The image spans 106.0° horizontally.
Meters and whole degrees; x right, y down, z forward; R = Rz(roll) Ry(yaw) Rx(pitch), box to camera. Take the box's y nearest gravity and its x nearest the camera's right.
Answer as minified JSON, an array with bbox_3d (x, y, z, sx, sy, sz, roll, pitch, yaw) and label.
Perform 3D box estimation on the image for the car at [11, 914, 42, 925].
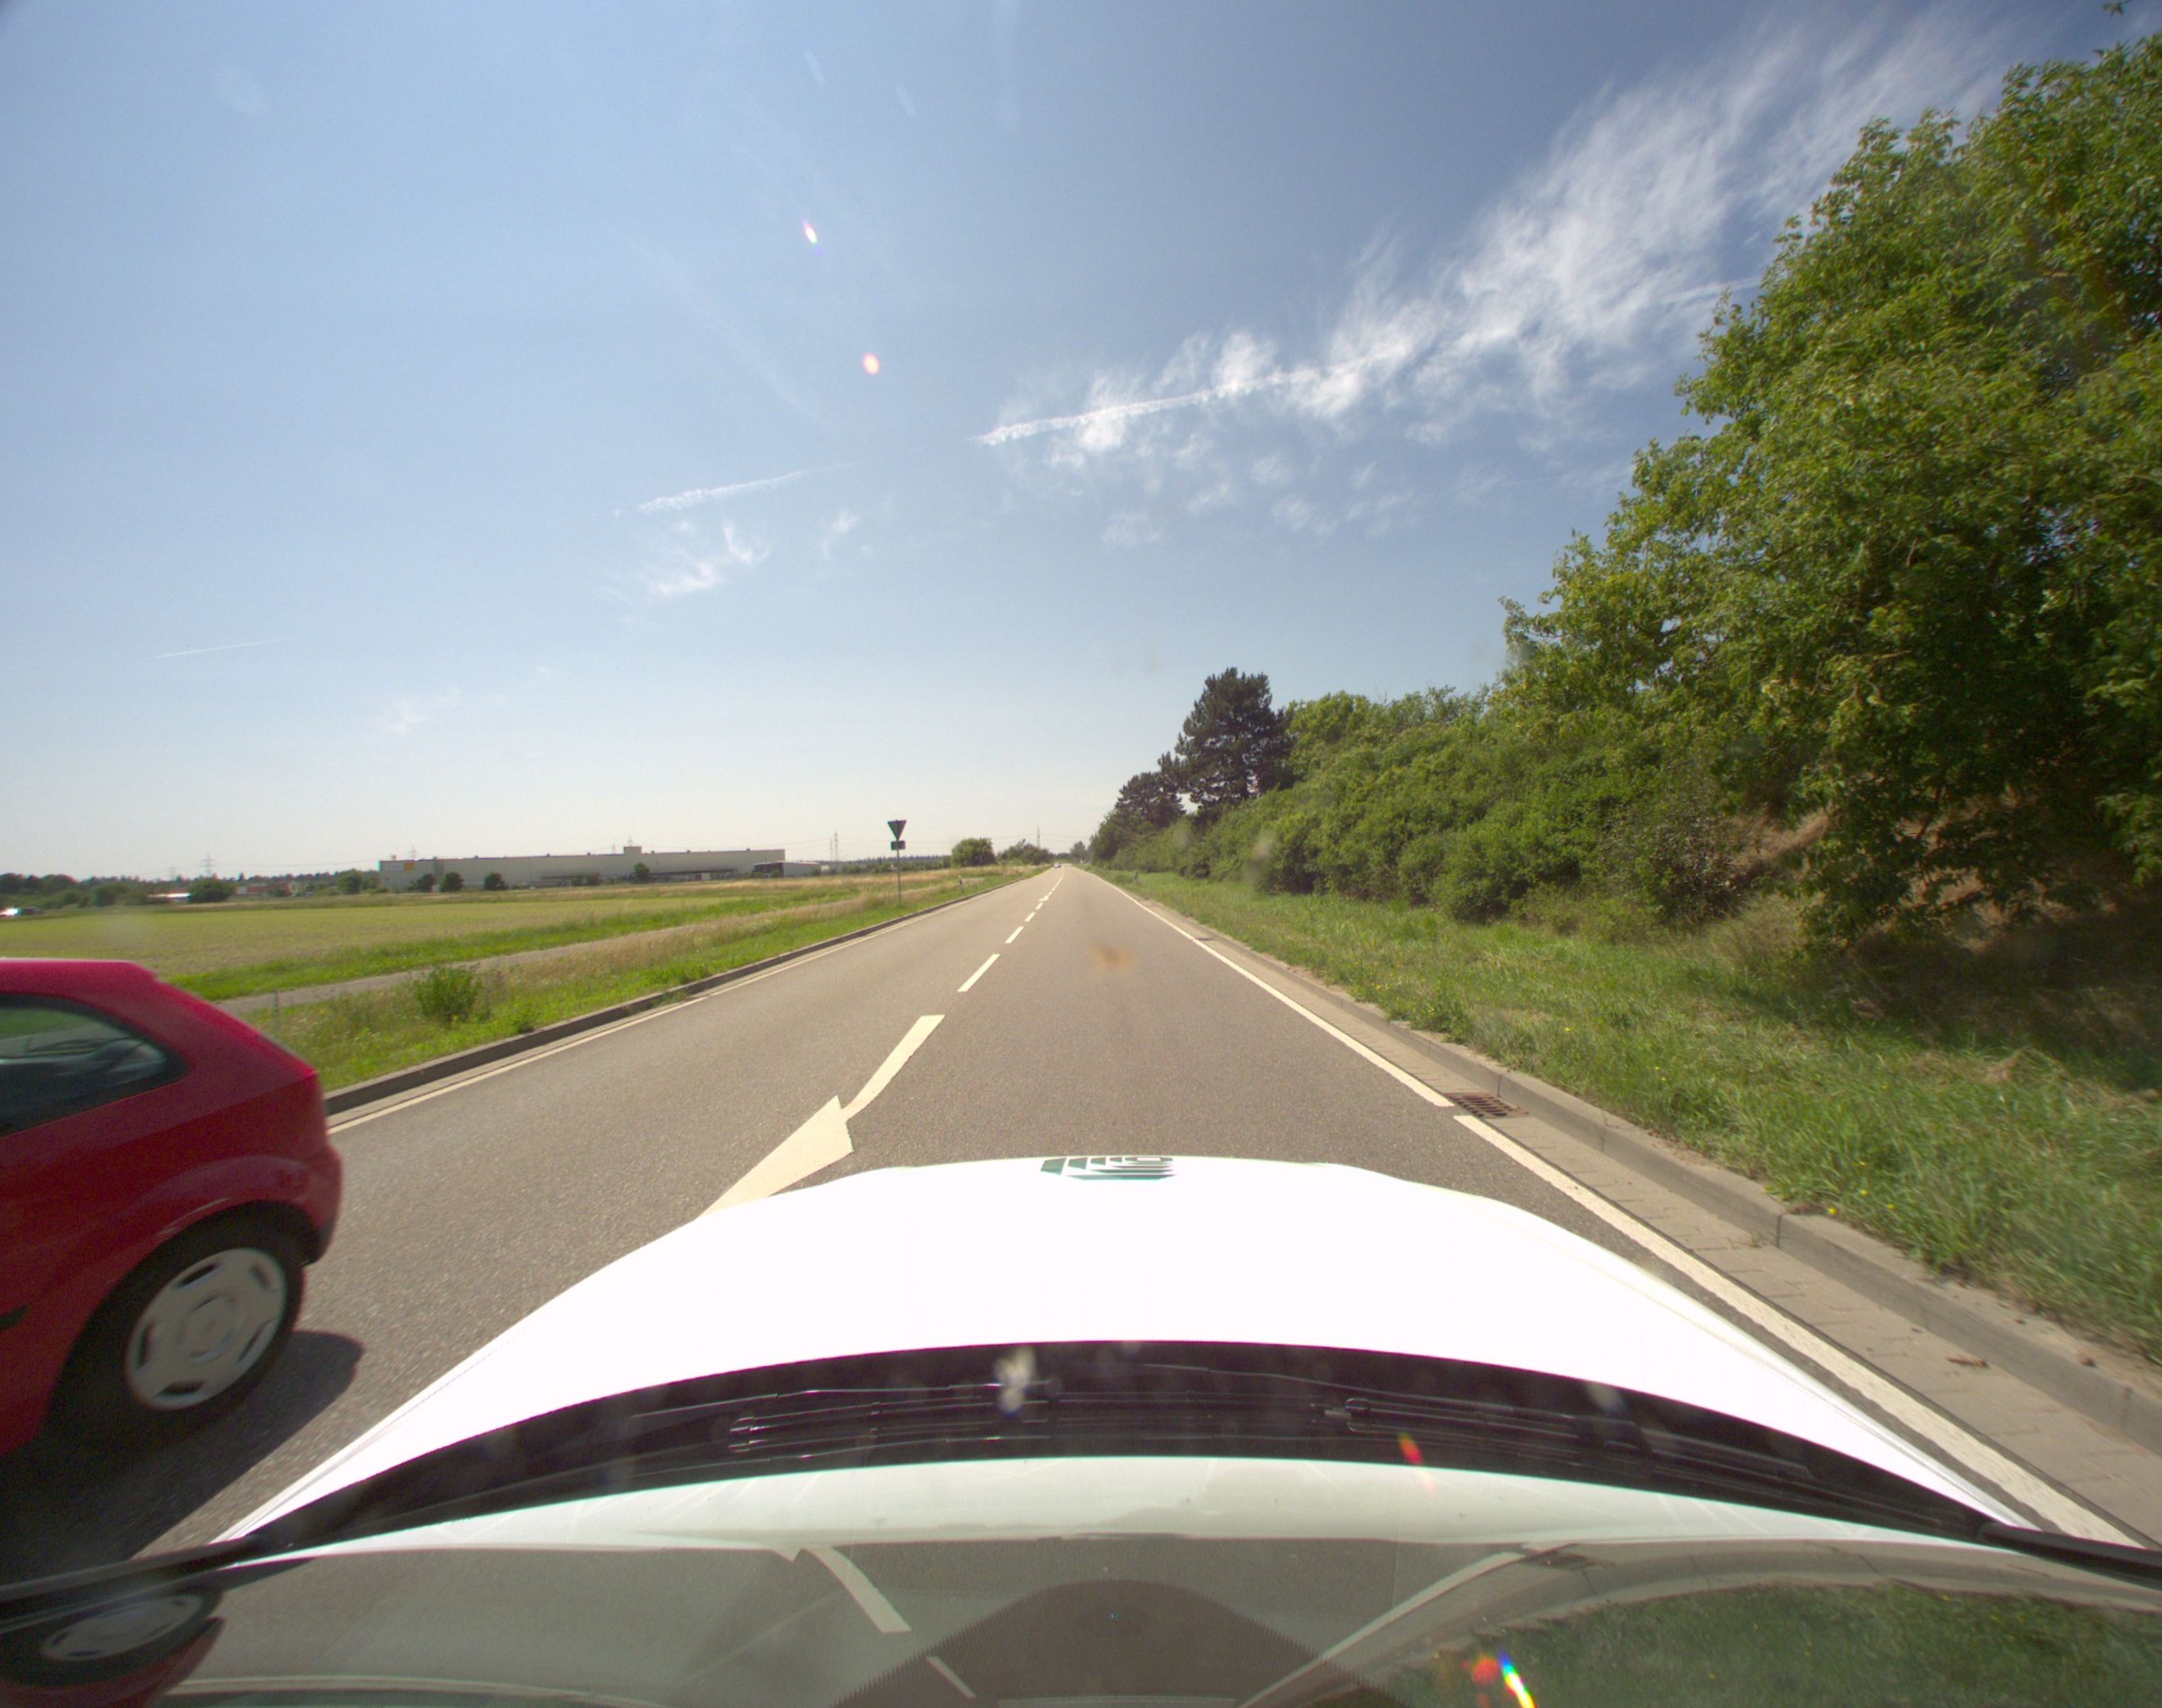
[{"bbox_3d":[-192.515,11.950,148.739,2.005,1.891,3.963,-2,-1,-28],"label":"car"}]

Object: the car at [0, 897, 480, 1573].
[{"bbox_3d":[-3.278,0.937,1.334,1.649,1.433,3.737,-4,0,1],"label":"car"}]

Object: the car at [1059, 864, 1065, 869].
[{"bbox_3d":[-5.550,3.699,239.207,1.674,1.421,4.419,-5,0,-2],"label":"car"}]
